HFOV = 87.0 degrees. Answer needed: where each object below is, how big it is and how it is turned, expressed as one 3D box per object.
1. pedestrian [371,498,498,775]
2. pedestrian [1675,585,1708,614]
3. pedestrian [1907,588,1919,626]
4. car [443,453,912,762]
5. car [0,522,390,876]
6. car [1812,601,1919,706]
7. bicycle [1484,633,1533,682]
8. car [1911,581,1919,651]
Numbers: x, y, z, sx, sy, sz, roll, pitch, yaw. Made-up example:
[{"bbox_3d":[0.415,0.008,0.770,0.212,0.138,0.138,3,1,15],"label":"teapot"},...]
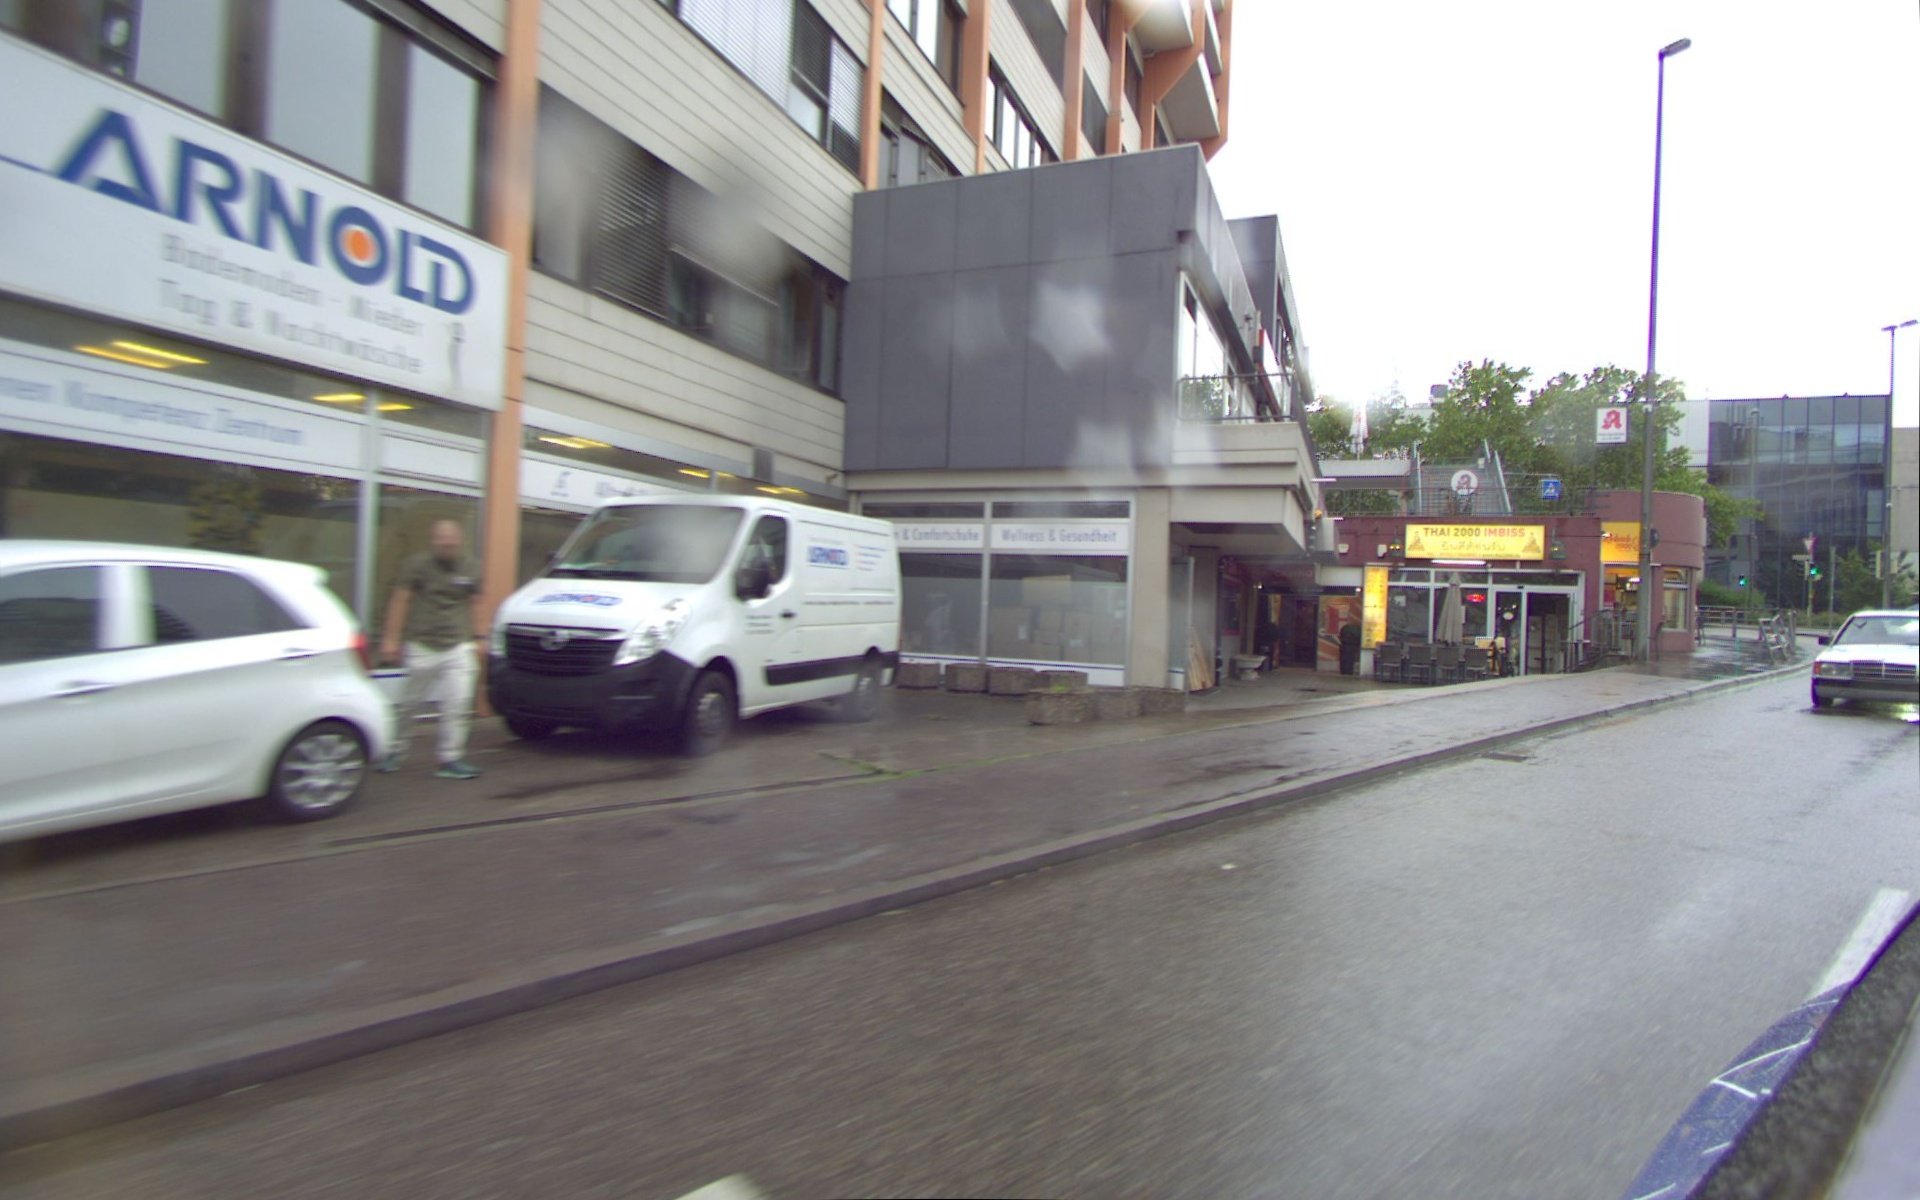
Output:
[{"bbox_3d":[-3.622,0.234,6.969,0.590,1.789,0.593,2,-1,-43],"label":"pedestrian"},{"bbox_3d":[36.278,-0.021,50.218,0.909,1.418,1.208,1,1,14],"label":"pedestrian"},{"bbox_3d":[36.606,0.269,38.409,0.756,1.396,0.689,0,3,-30],"label":"pedestrian"},{"bbox_3d":[-2.334,0.090,10.009,1.982,2.237,4.844,3,-1,19],"label":"car"},{"bbox_3d":[-4.699,0.397,4.611,1.599,1.480,3.395,1,1,25],"label":"car"},{"bbox_3d":[13.988,0.712,14.719,3.922,1.324,1.662,0,2,-38],"label":"car"},{"bbox_3d":[12.324,1.278,22.778,0.523,0.949,1.571,3,2,13],"label":"bicycle"},{"bbox_3d":[25.387,0.390,25.108,4.400,1.668,2.058,-1,1,-39],"label":"car"}]
